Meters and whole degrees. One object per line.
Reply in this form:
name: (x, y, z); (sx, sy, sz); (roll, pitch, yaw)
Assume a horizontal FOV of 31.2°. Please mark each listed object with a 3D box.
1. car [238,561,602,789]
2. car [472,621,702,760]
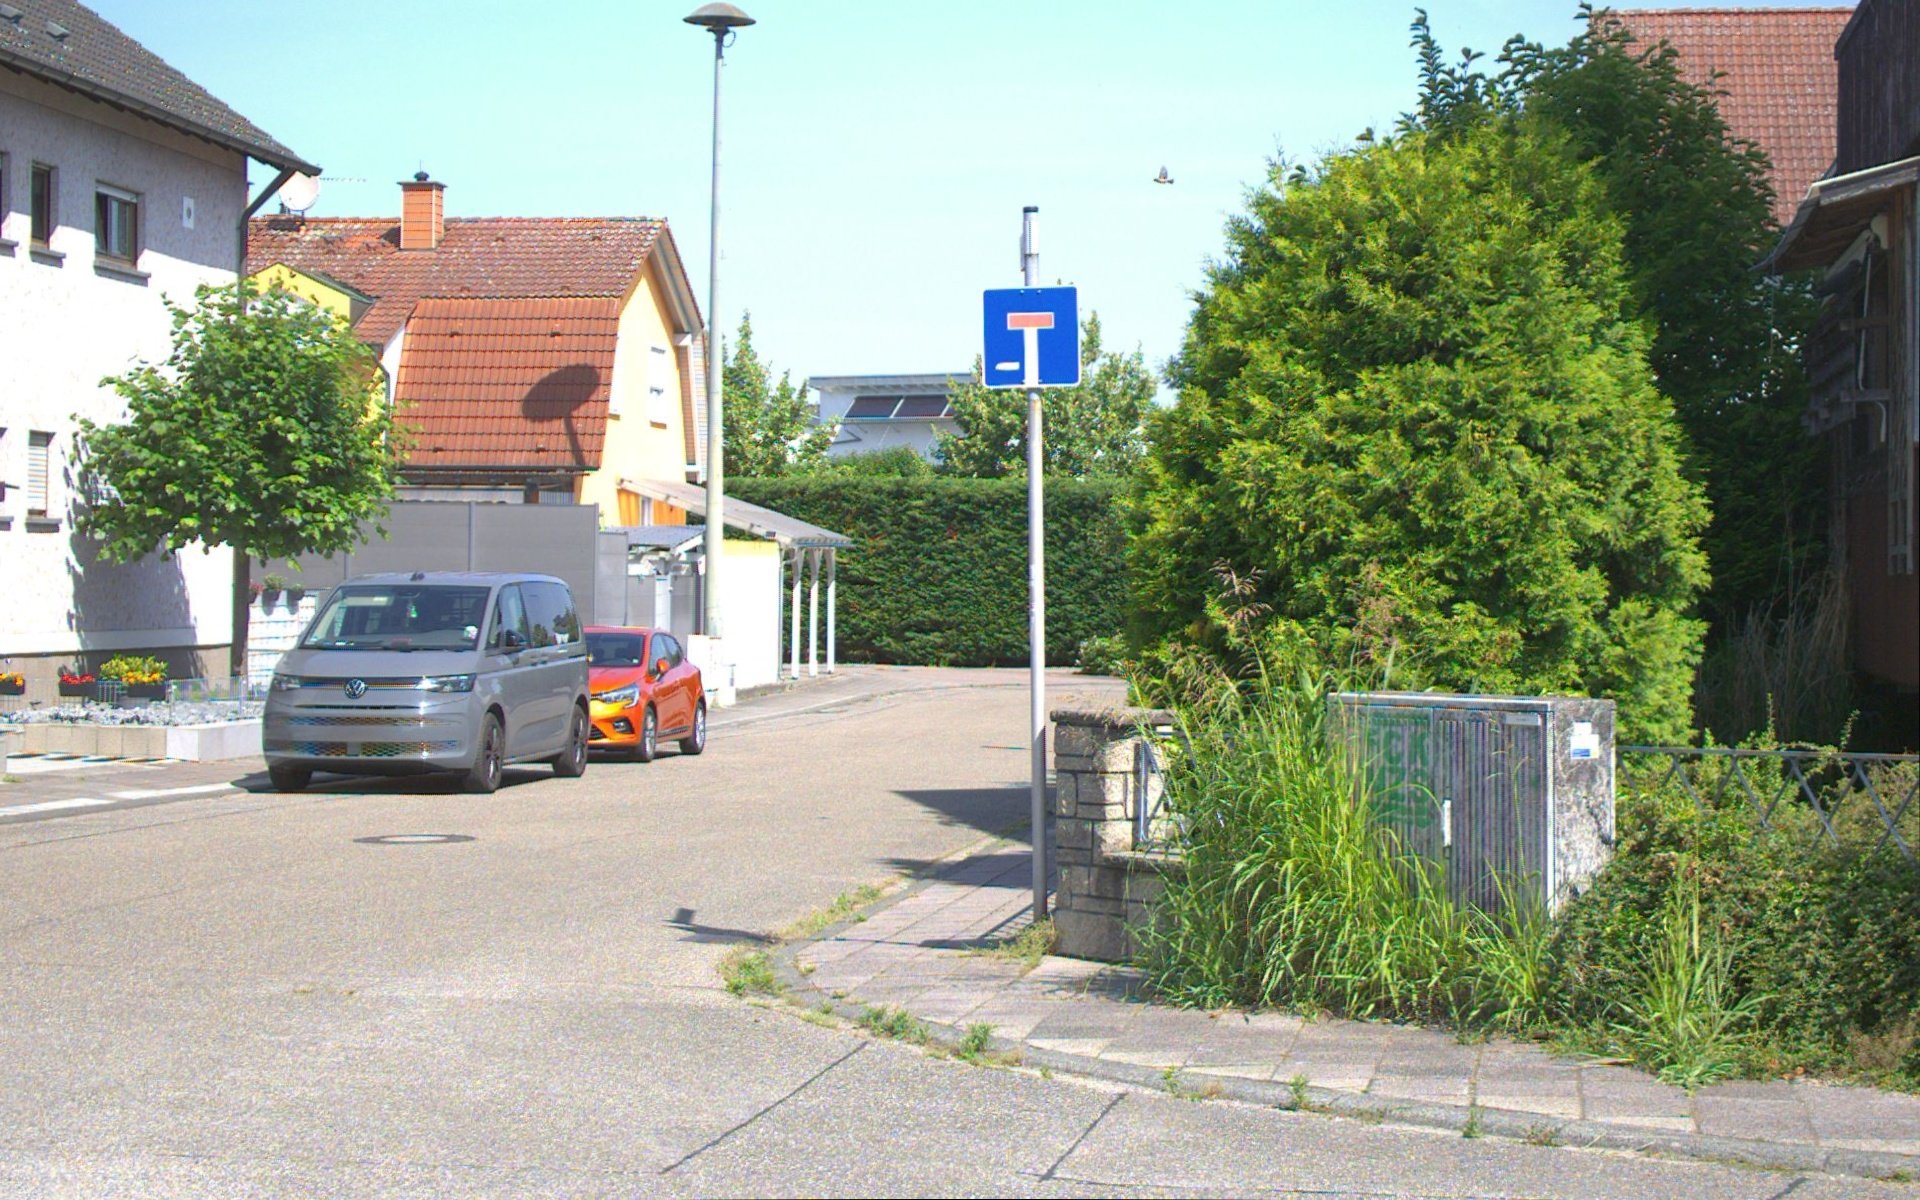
car: (-4.700, 0.598, 30.594); (1.902, 1.863, 4.369); (0, 1, 10)
car: (-3.958, 0.938, 37.044); (1.652, 1.360, 3.778); (1, 0, 7)
